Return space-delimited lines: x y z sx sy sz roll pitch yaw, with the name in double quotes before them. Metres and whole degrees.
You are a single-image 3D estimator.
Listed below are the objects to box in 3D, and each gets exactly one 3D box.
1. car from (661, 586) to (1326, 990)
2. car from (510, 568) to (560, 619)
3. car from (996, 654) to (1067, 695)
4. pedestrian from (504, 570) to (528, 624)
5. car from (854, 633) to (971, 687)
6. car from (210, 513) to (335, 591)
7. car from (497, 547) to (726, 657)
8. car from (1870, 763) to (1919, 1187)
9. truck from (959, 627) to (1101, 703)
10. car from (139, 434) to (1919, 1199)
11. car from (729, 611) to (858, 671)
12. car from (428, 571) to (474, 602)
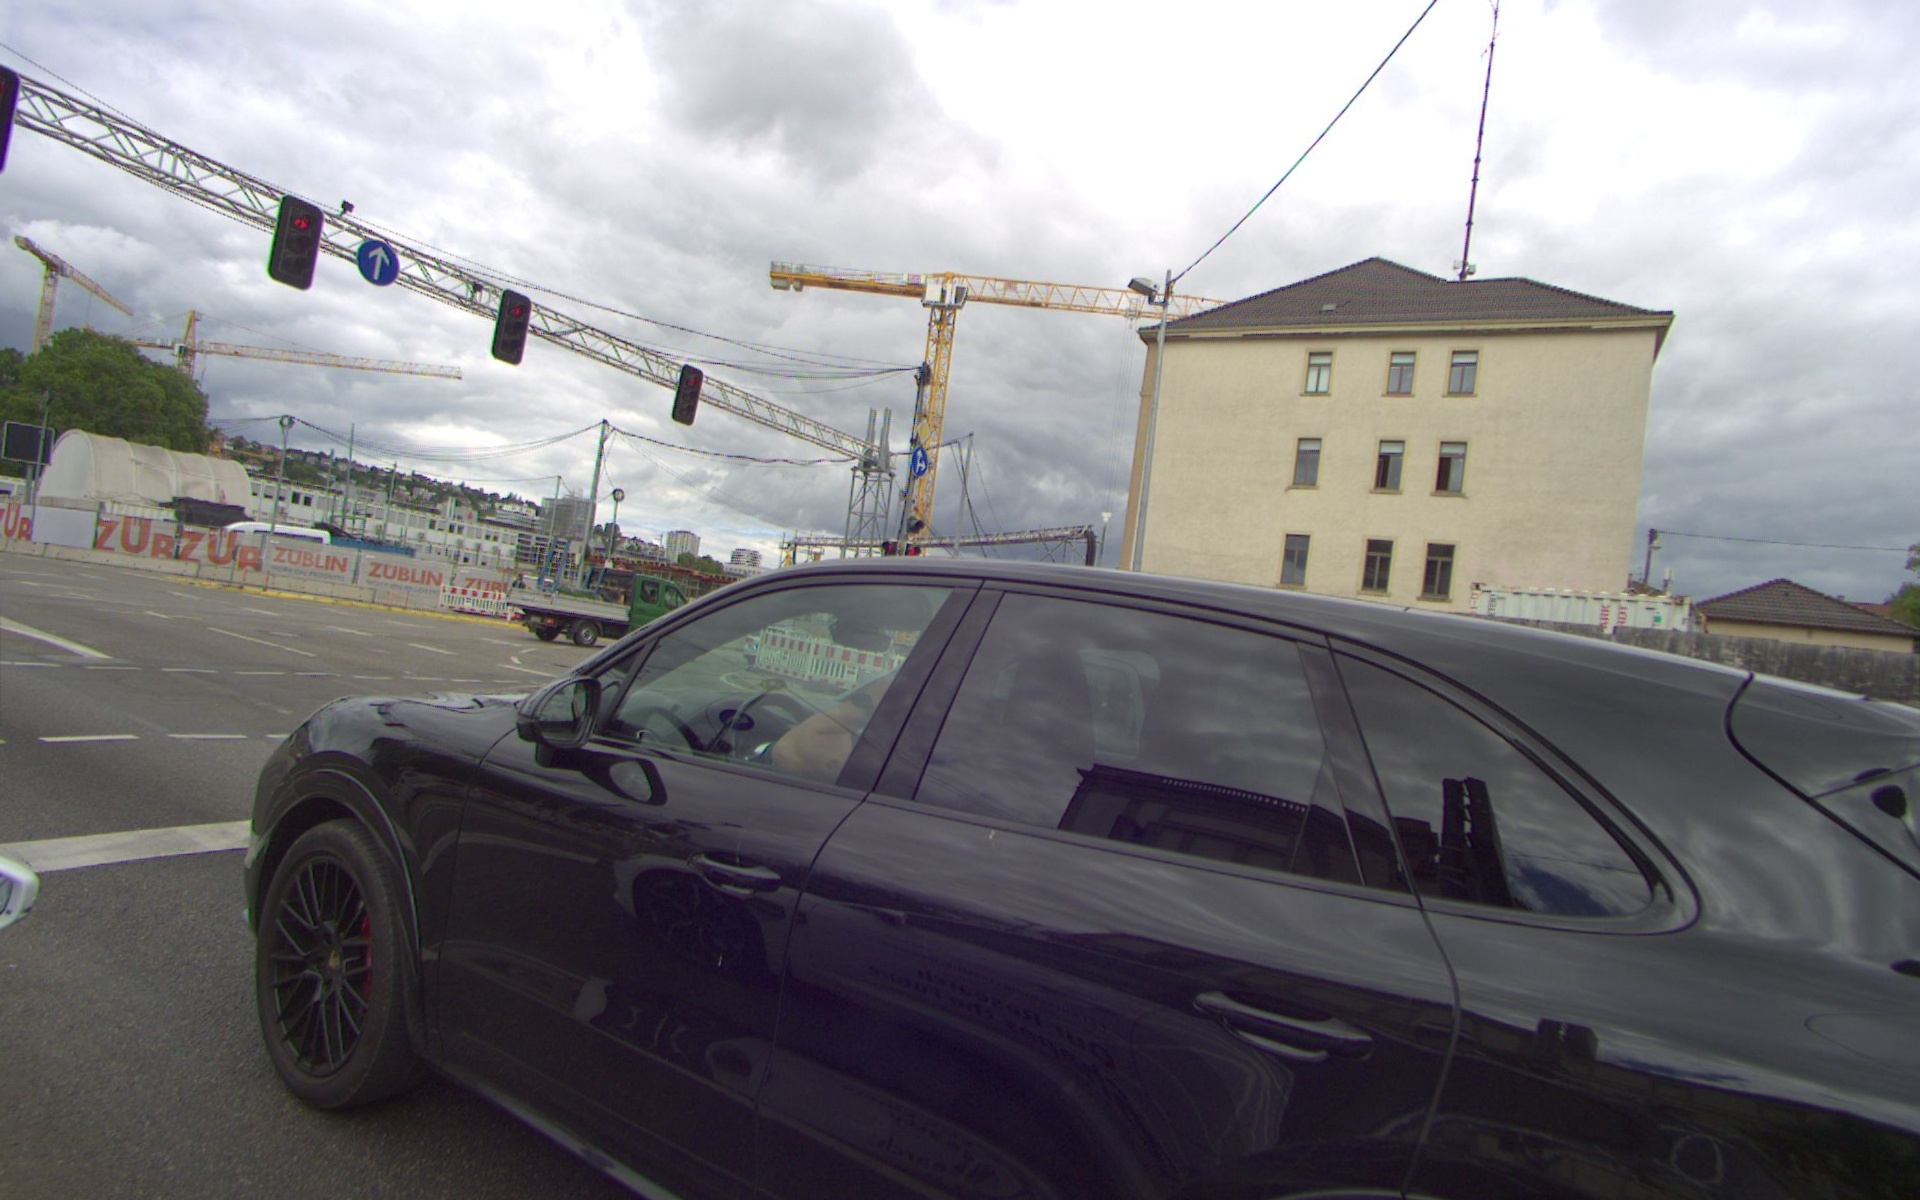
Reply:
"car" 0.122 0.984 6.653 3.934 1.644 1.679 6 -2 32
"car" -19.156 -0.315 45.288 1.757 1.976 3.108 8 -2 -25
"car" 3.995 4.140 55.540 1.801 1.903 4.272 6 -2 35
"pedestrian" -17.237 -0.124 39.061 0.580 1.999 0.433 8 -1 -17
"car" -1.765 2.378 39.276 1.988 1.643 4.816 6 -2 33
"car" -29.566 -2.034 43.361 1.660 2.692 3.979 6 -2 45
"car" -9.616 0.166 28.393 2.266 2.331 5.770 6 -2 32
"car" 5.773 1.684 2.559 4.729 1.644 1.828 6 -2 32
"truck" 3.595 3.253 48.546 2.583 2.835 8.999 7 -2 32
"car" -0.037 0.650 2.657 4.410 1.735 1.828 6 -2 32
"car" -5.782 1.509 35.636 1.654 1.643 4.719 6 -2 32
"car" -31.006 -0.827 61.210 1.668 1.545 3.960 8 -2 -37
